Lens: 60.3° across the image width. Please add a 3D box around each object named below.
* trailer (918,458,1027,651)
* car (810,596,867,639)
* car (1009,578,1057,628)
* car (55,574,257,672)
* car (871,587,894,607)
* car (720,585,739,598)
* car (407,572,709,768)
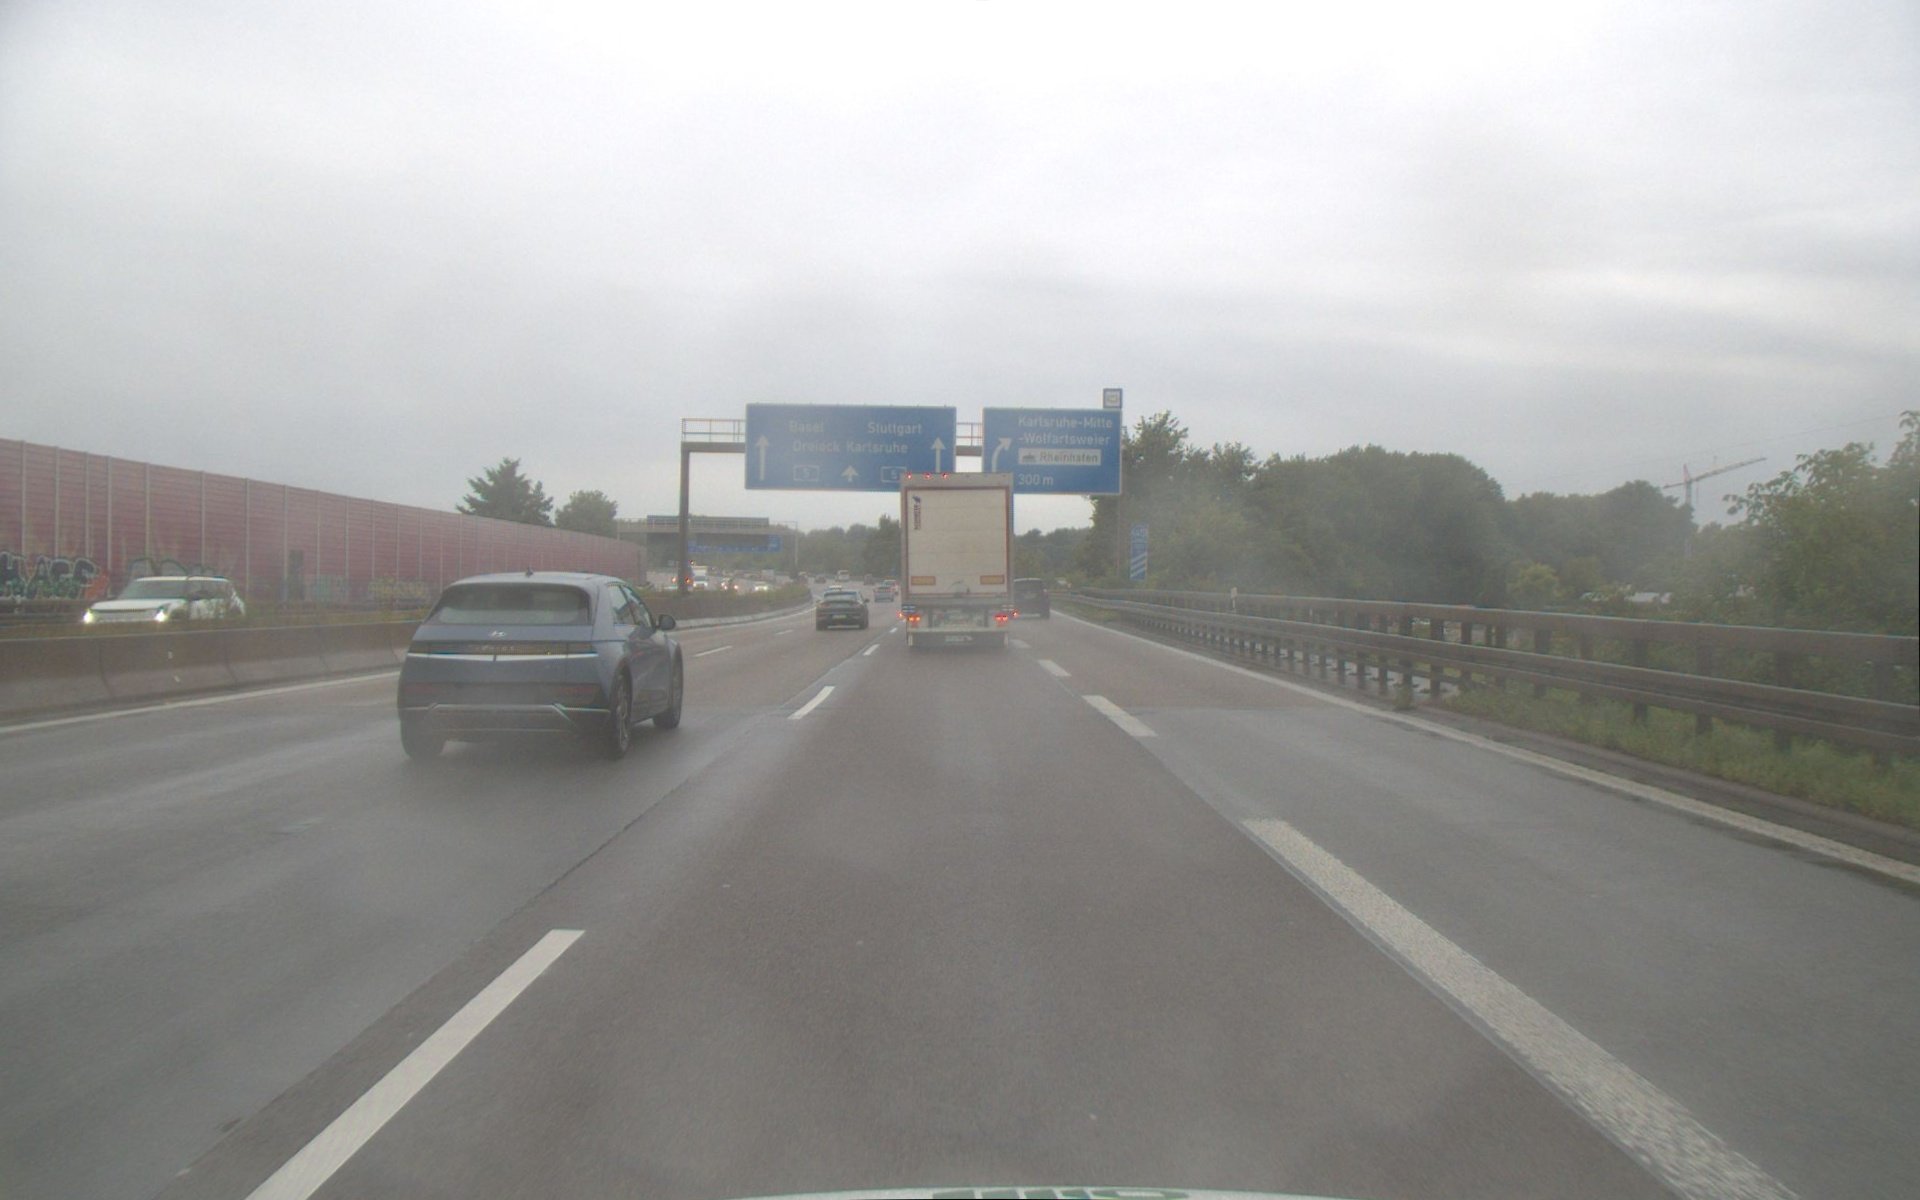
[{"bbox_3d":[0.263,-1.131,44.149,2.295,4.229,14.827,2,1,0],"label":"trailer"},{"bbox_3d":[-4.421,0.615,60.634,1.690,1.427,4.828,2,0,0],"label":"car"},{"bbox_3d":[3.114,0.122,70.909,1.858,1.983,4.000,3,0,1],"label":"car"},{"bbox_3d":[-18.959,0.501,39.364,1.953,2.048,5.805,3,0,-1],"label":"car"},{"bbox_3d":[-6.970,-0.266,148.391,1.855,1.754,4.000,1,0,0],"label":"car"},{"bbox_3d":[-30.606,-1.069,219.398,1.953,1.598,3.999,3,0,-2],"label":"car"},{"bbox_3d":[-3.749,0.591,16.421,1.801,1.622,5.155,1,0,-1],"label":"car"}]
